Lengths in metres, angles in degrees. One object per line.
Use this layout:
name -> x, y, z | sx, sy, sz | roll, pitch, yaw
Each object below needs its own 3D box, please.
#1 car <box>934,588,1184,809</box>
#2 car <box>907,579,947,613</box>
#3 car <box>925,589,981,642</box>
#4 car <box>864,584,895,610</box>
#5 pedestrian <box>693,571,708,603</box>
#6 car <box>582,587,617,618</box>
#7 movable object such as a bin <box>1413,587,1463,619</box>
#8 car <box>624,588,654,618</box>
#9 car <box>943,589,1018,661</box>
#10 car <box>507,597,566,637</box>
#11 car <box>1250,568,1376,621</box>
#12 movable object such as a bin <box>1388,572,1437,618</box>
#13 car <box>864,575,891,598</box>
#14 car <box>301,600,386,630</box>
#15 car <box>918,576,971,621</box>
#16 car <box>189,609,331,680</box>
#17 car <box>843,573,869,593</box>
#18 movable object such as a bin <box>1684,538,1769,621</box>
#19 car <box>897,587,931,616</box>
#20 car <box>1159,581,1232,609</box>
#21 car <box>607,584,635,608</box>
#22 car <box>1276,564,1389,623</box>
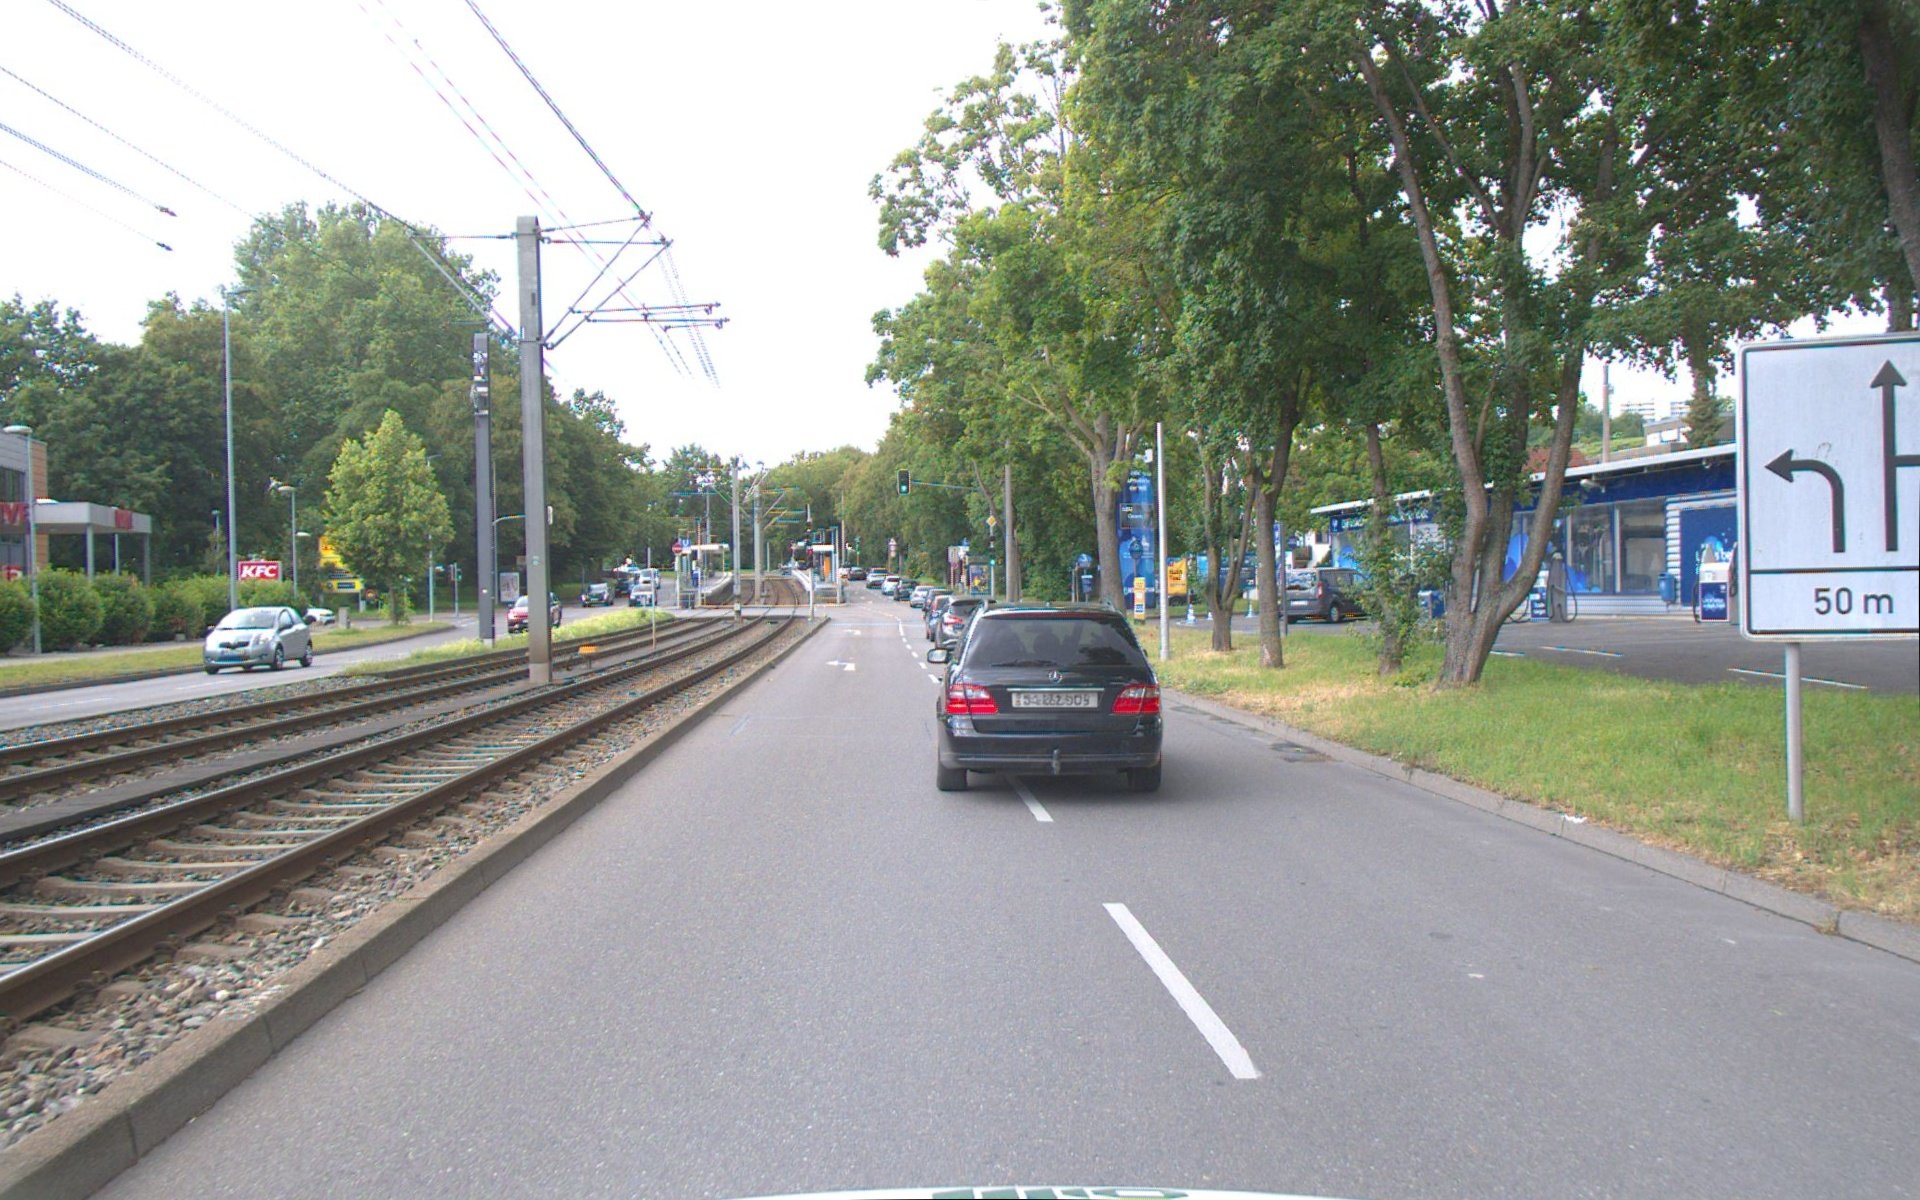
car -> 0.679, 0.709, 13.864 | 1.746, 1.552, 3.999 | 1, 0, -1
car -> -1.975, -0.249, 98.900 | 1.956, 1.926, 3.994 | 1, 0, -7
car -> -0.237, 0.493, 54.589 | 1.745, 1.677, 3.999 | 1, 0, -1
car -> -6.526, -0.258, 133.158 | 1.958, 2.049, 3.990 | 1, 0, -11
pedestrian -> -18.299, -0.912, 116.502 | 0.951, 2.224, 0.975 | -1, 1, -5
car -> -24.986, 0.153, 114.771 | 1.956, 2.049, 4.240 | -1, 0, -8
movable object such as a bin -> 15.248, 0.097, 52.827 | 1.136, 0.993, 1.186 | -2, 0, -7
car -> -21.514, 0.194, 111.040 | 1.665, 1.893, 3.994 | 1, 0, -7
car -> 0.460, 0.595, 41.239 | 1.745, 1.677, 3.999 | 1, 0, -1
car -> -18.272, 0.713, 71.472 | 1.749, 1.609, 4.476 | -3, 0, -6
car -> 12.775, -0.213, 59.846 | 4.139, 1.727, 1.828 | -2, 1, -22
movable object such as a bin -> 15.272, -0.178, 55.845 | 1.136, 1.500, 1.385 | -2, 0, -7
car -> -7.562, -1.228, 151.163 | 1.958, 2.049, 3.990 | 1, 0, -11
car -> -32.900, 0.789, 88.331 | 3.802, 1.432, 1.846 | -2, 0, -4
car -> -0.748, -0.075, 76.441 | 1.956, 1.952, 3.994 | 1, 0, -7
car -> -17.071, 1.037, 40.530 | 1.955, 1.508, 3.996 | -3, 0, -5
car -> -11.153, -1.840, 177.016 | 1.960, 2.049, 3.984 | 1, 0, -15
movable object such as a bin -> 17.653, -0.470, 38.137 | 1.136, 1.850, 1.453 | -2, 0, -7
car -> -3.259, 0.088, 116.825 | 1.956, 2.001, 3.994 | 1, 0, -7
car -> 13.794, -0.273, 97.059 | 4.066, 1.552, 1.705 | -1, 0, 2
car -> -29.270, -0.340, 142.858 | 1.956, 2.049, 4.100 | -1, 0, -8
car -> 12.585, -0.245, 55.796 | 1.721, 1.853, 4.355 | -1, 0, 43
